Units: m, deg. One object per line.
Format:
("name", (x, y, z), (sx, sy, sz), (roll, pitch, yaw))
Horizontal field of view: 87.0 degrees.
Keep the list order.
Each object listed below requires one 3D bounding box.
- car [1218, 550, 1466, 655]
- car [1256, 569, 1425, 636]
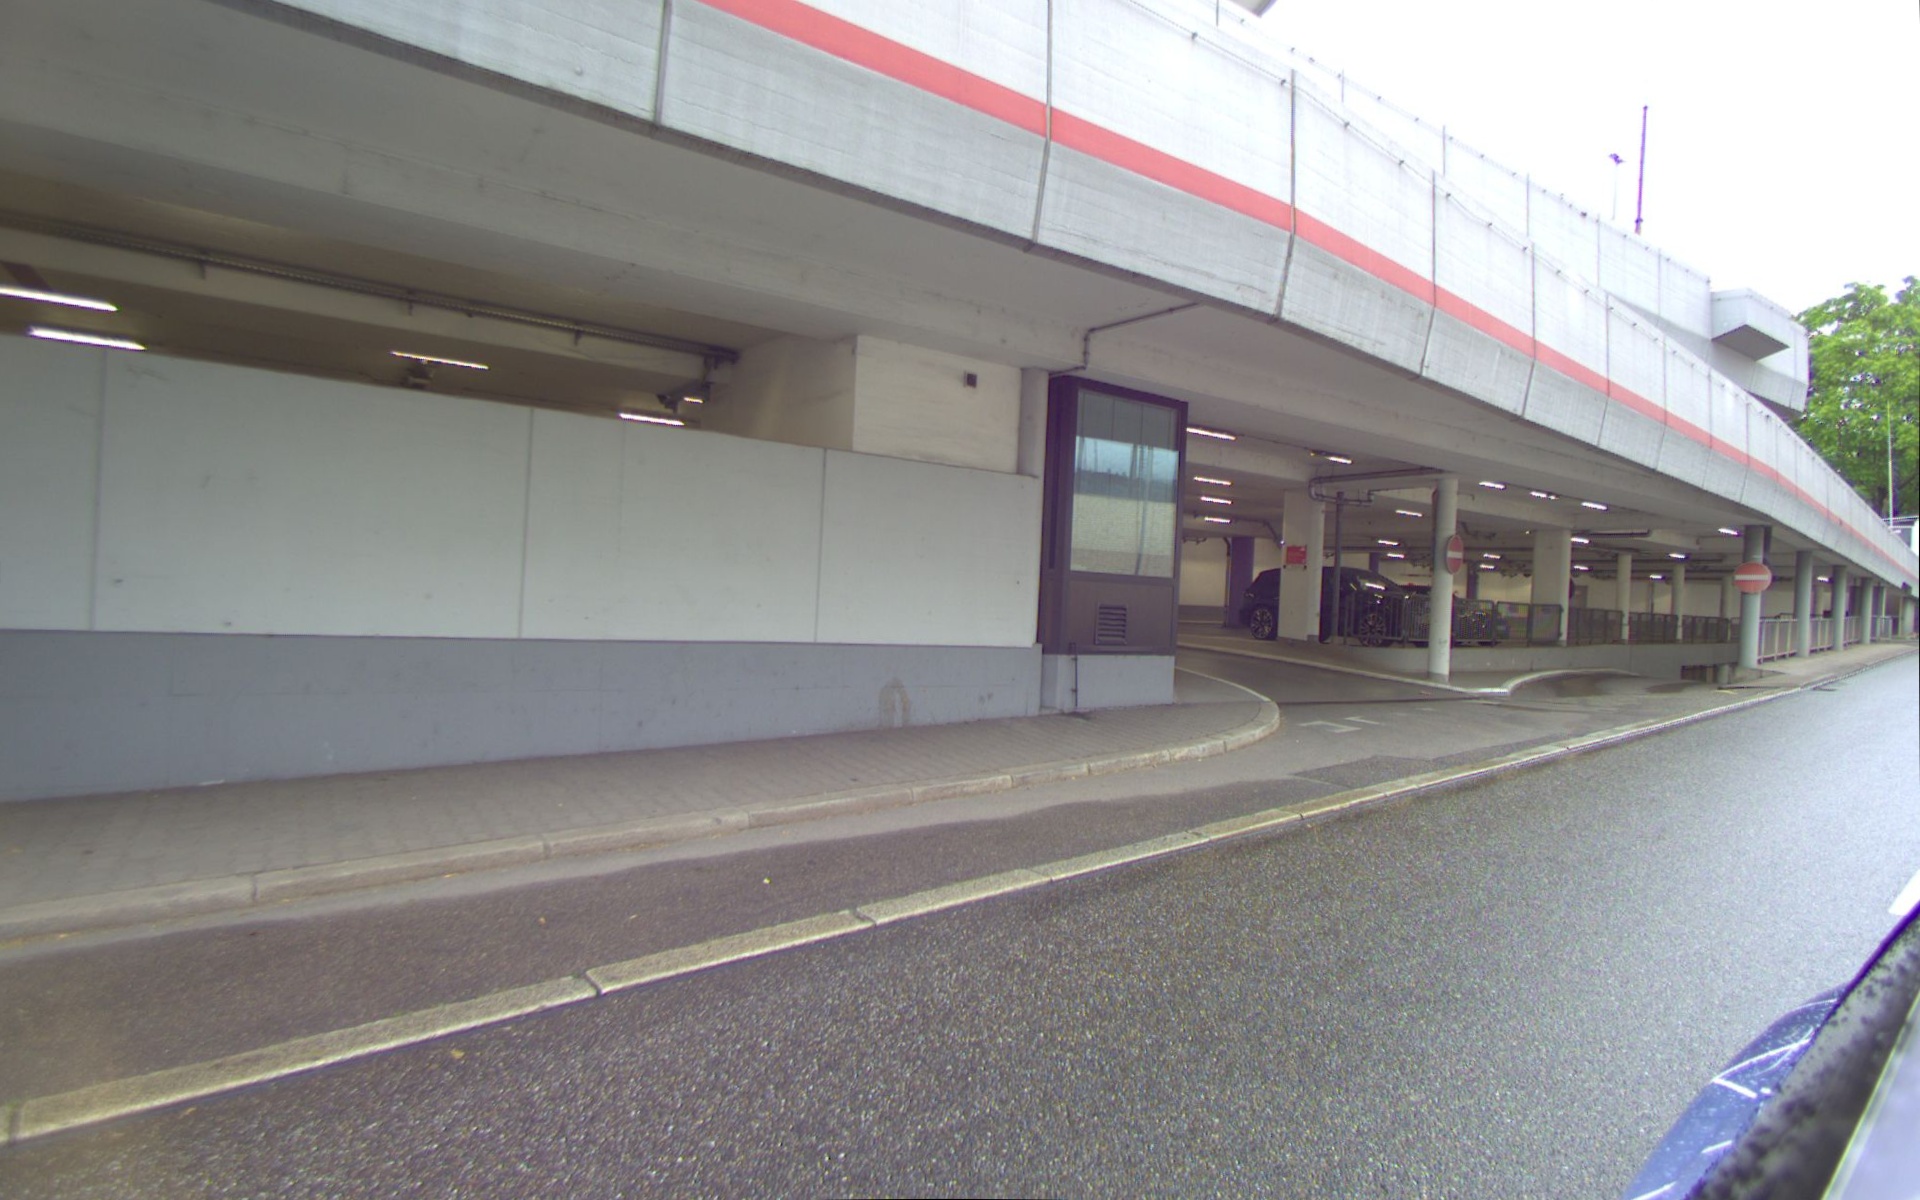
("car", (7.960, -0.014, 21.528), (1.787, 1.659, 4.594), (3, 4, -36))
("car", (9.839, 0.036, 26.373), (1.772, 1.524, 3.737), (2, 1, -34))
